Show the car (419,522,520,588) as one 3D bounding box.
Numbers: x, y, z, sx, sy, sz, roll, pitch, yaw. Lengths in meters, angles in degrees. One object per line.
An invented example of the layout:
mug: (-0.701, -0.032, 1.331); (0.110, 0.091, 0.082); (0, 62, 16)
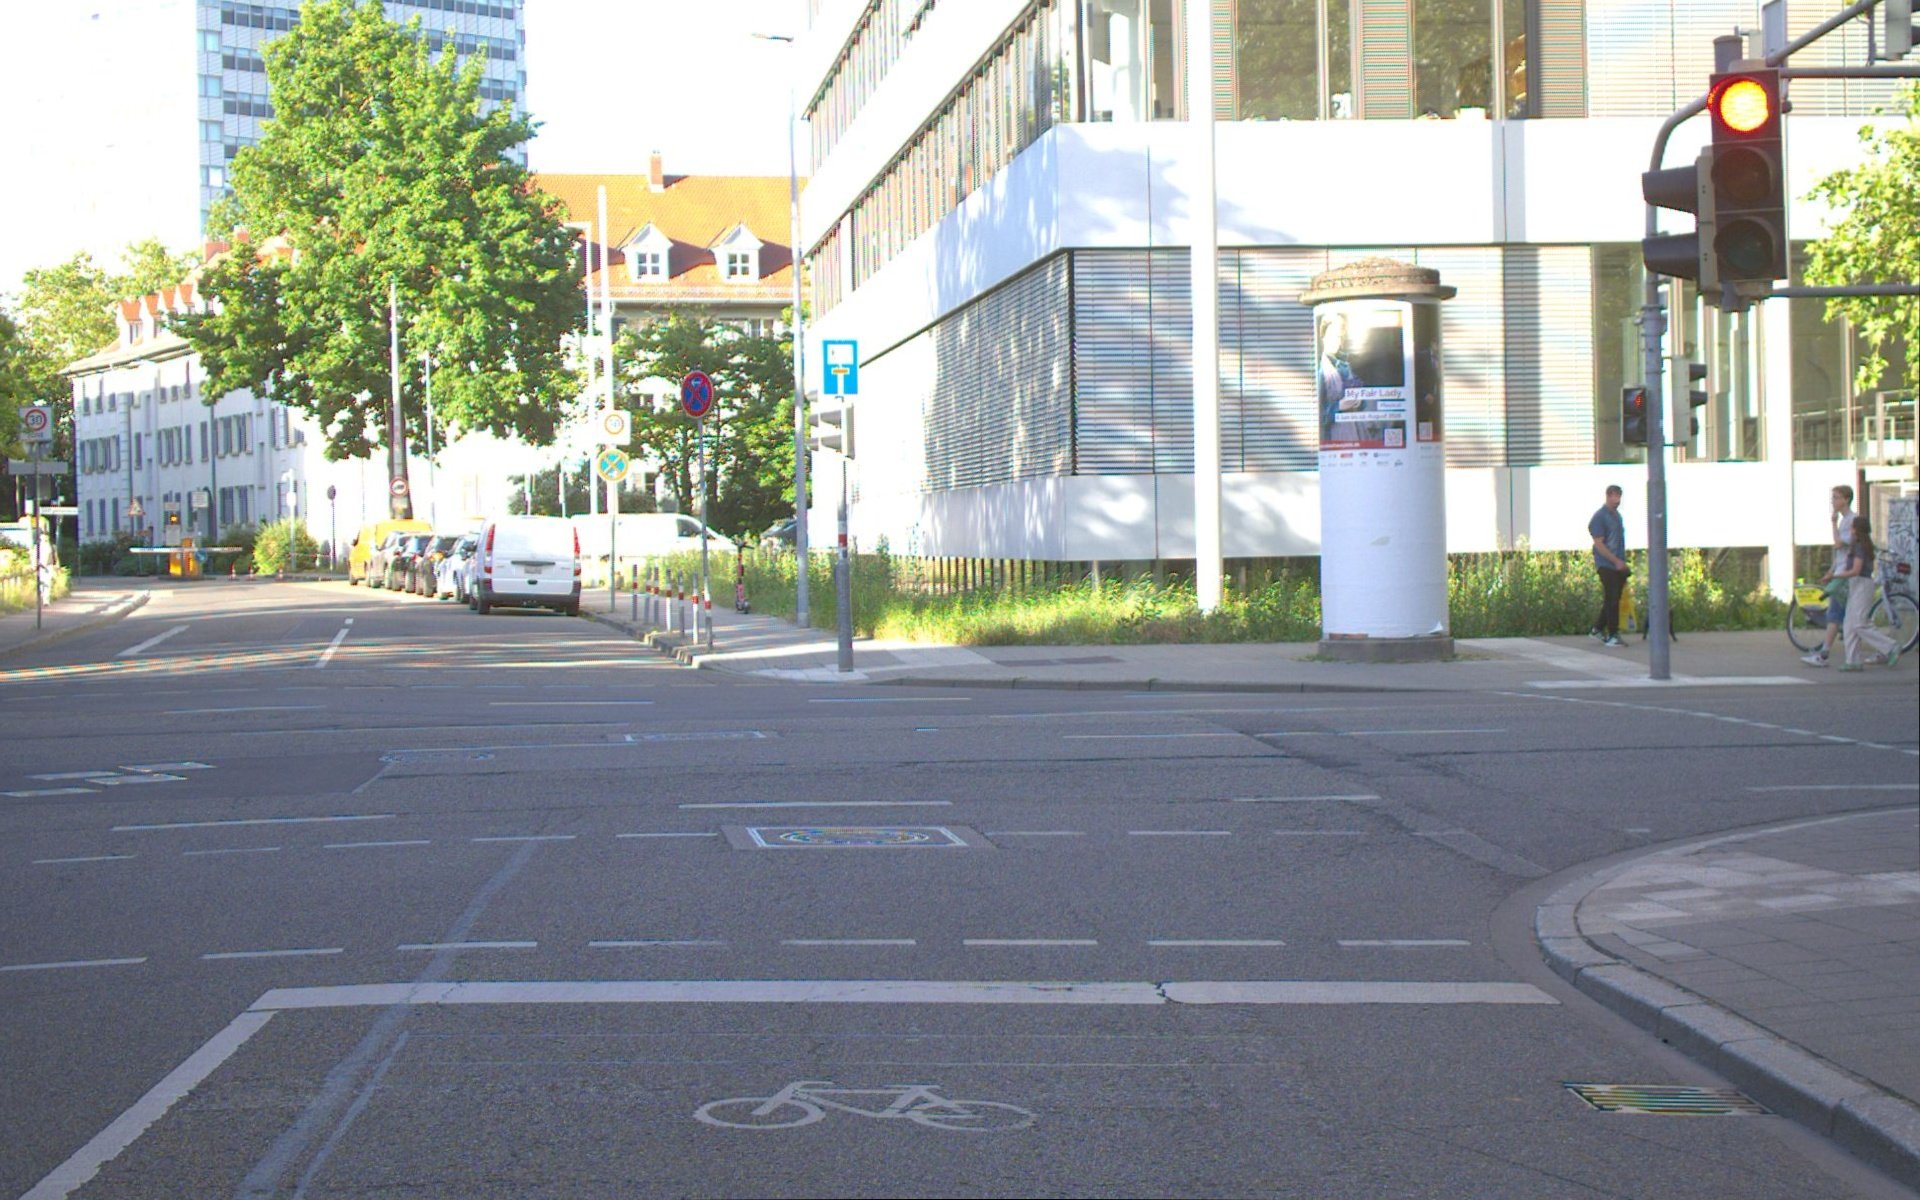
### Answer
car: (-11.622, -1.068, 81.253); (1.993, 1.493, 4.288); (1, 1, -13)

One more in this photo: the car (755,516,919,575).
car: (-3.751, -1.646, 104.773); (4.635, 1.719, 2.001); (1, 1, -16)

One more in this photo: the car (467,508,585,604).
car: (-8.215, -0.821, 64.821); (1.993, 1.719, 4.653); (1, 1, -10)

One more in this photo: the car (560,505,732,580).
car: (-9.398, -1.716, 102.929); (4.791, 2.151, 2.001); (1, 0, -17)

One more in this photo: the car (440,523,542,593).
car: (-10.500, -0.942, 76.807); (1.993, 1.493, 4.653); (1, 1, -11)

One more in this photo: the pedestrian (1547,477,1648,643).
pedestrian: (7.072, -0.447, 38.142); (0.915, 1.809, 0.761); (1, 0, 26)

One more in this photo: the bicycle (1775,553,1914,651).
bicycle: (9.289, 0.017, 36.147); (0.378, 1.005, 1.432); (-2, 2, -42)

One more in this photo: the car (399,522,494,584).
car: (-12.876, -1.172, 85.977); (1.993, 1.493, 4.653); (1, 1, -13)

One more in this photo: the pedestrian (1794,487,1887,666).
pedestrian: (8.907, -0.238, 34.795); (0.765, 1.789, 0.648); (1, 0, 3)

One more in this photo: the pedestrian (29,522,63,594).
pedestrian: (-20.222, -0.937, 76.038); (0.699, 1.581, 0.637); (1, 0, -16)

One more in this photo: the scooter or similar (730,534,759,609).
scooter or similar: (-3.655, -0.495, 58.290); (0.437, 1.252, 1.420); (-1, 1, -4)

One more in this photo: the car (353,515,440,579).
car: (-15.735, -1.461, 95.833); (1.993, 1.719, 4.653); (1, 1, -14)

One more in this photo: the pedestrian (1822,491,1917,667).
pedestrian: (9.010, -0.212, 34.063); (0.765, 1.713, 0.648); (1, 0, 2)
